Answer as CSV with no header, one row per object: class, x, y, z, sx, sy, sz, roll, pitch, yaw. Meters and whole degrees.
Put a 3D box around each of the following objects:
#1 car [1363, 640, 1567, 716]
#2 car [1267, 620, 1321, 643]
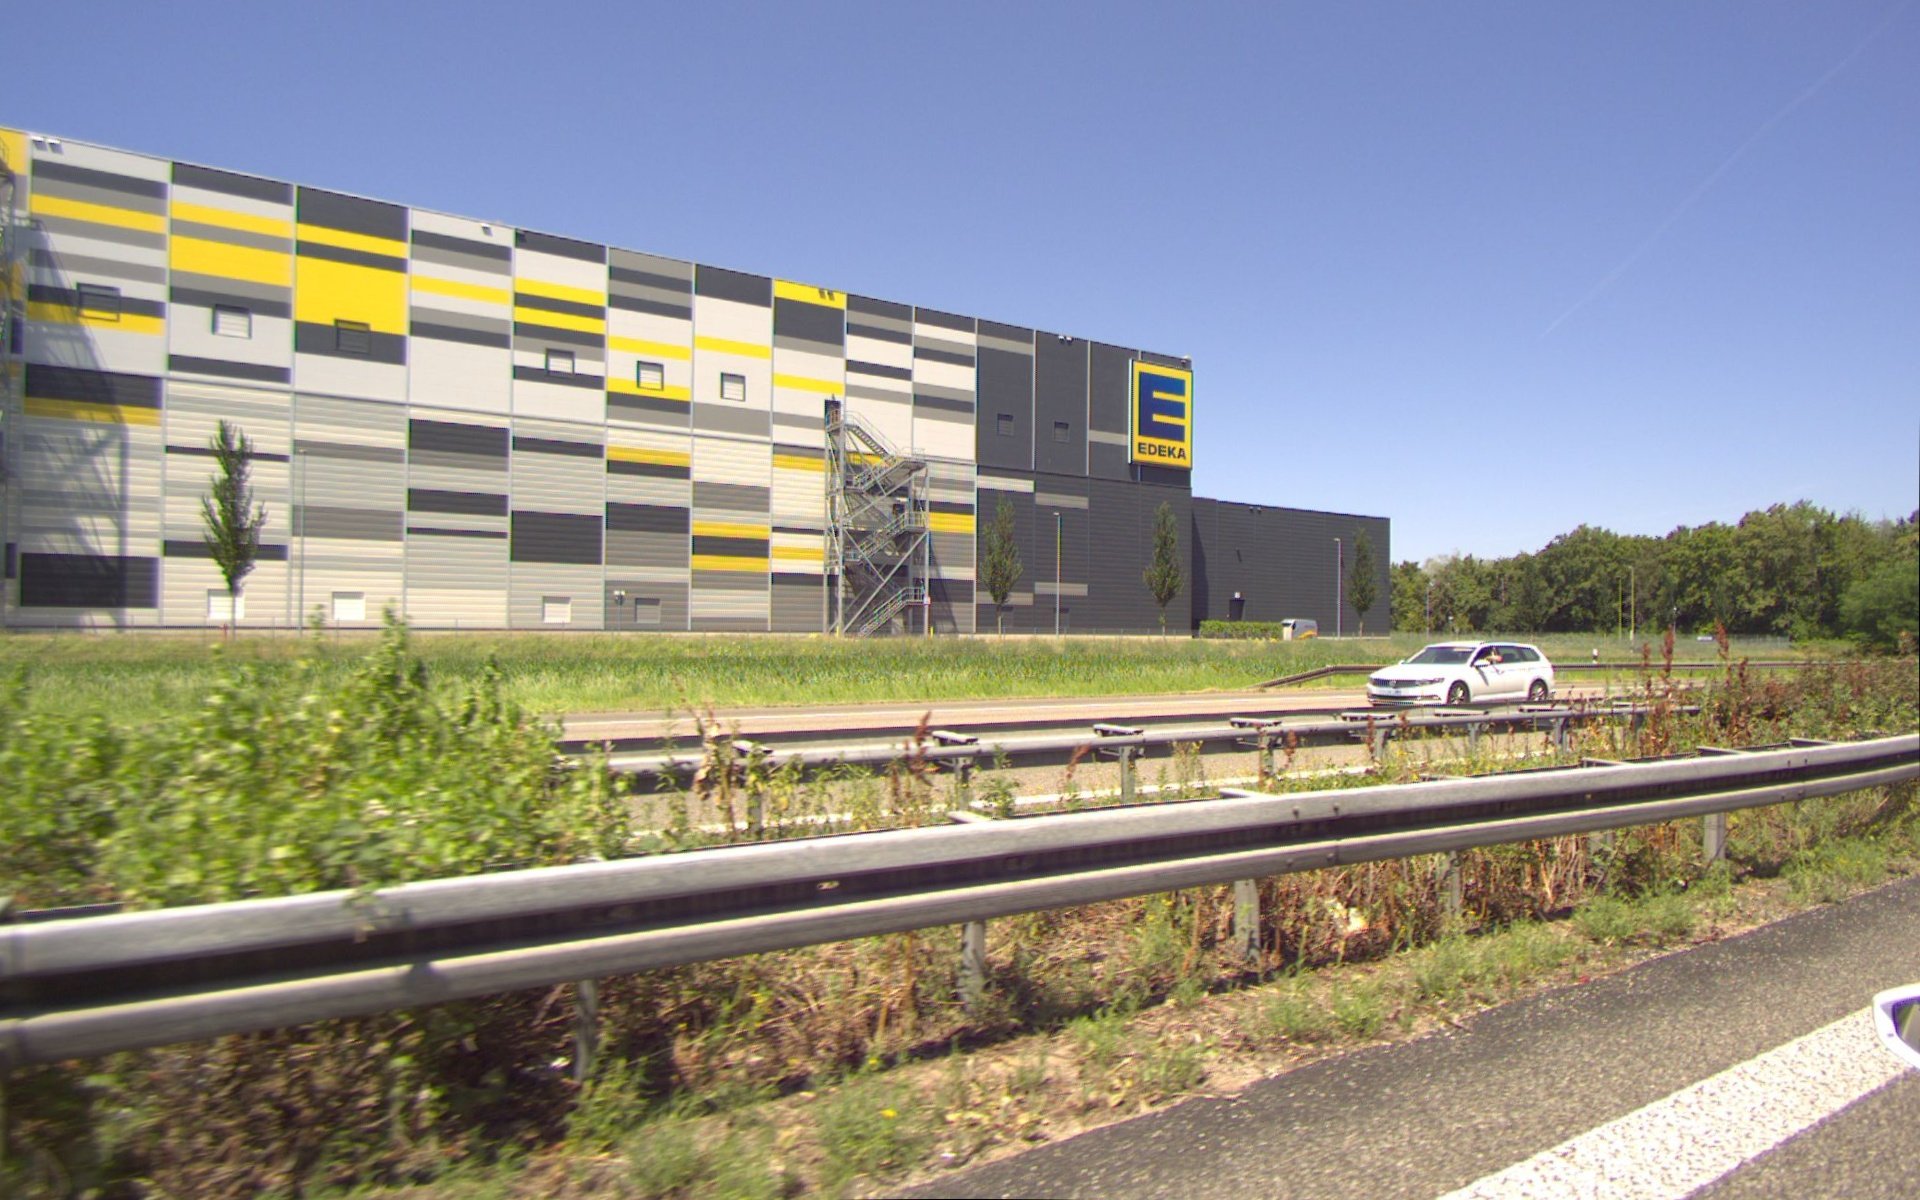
car,10.637,1.576,21.063,4.608,1.446,1.625,2,-3,-31
car,37.300,3.482,112.169,6.102,2.488,2.386,2,-2,-31
